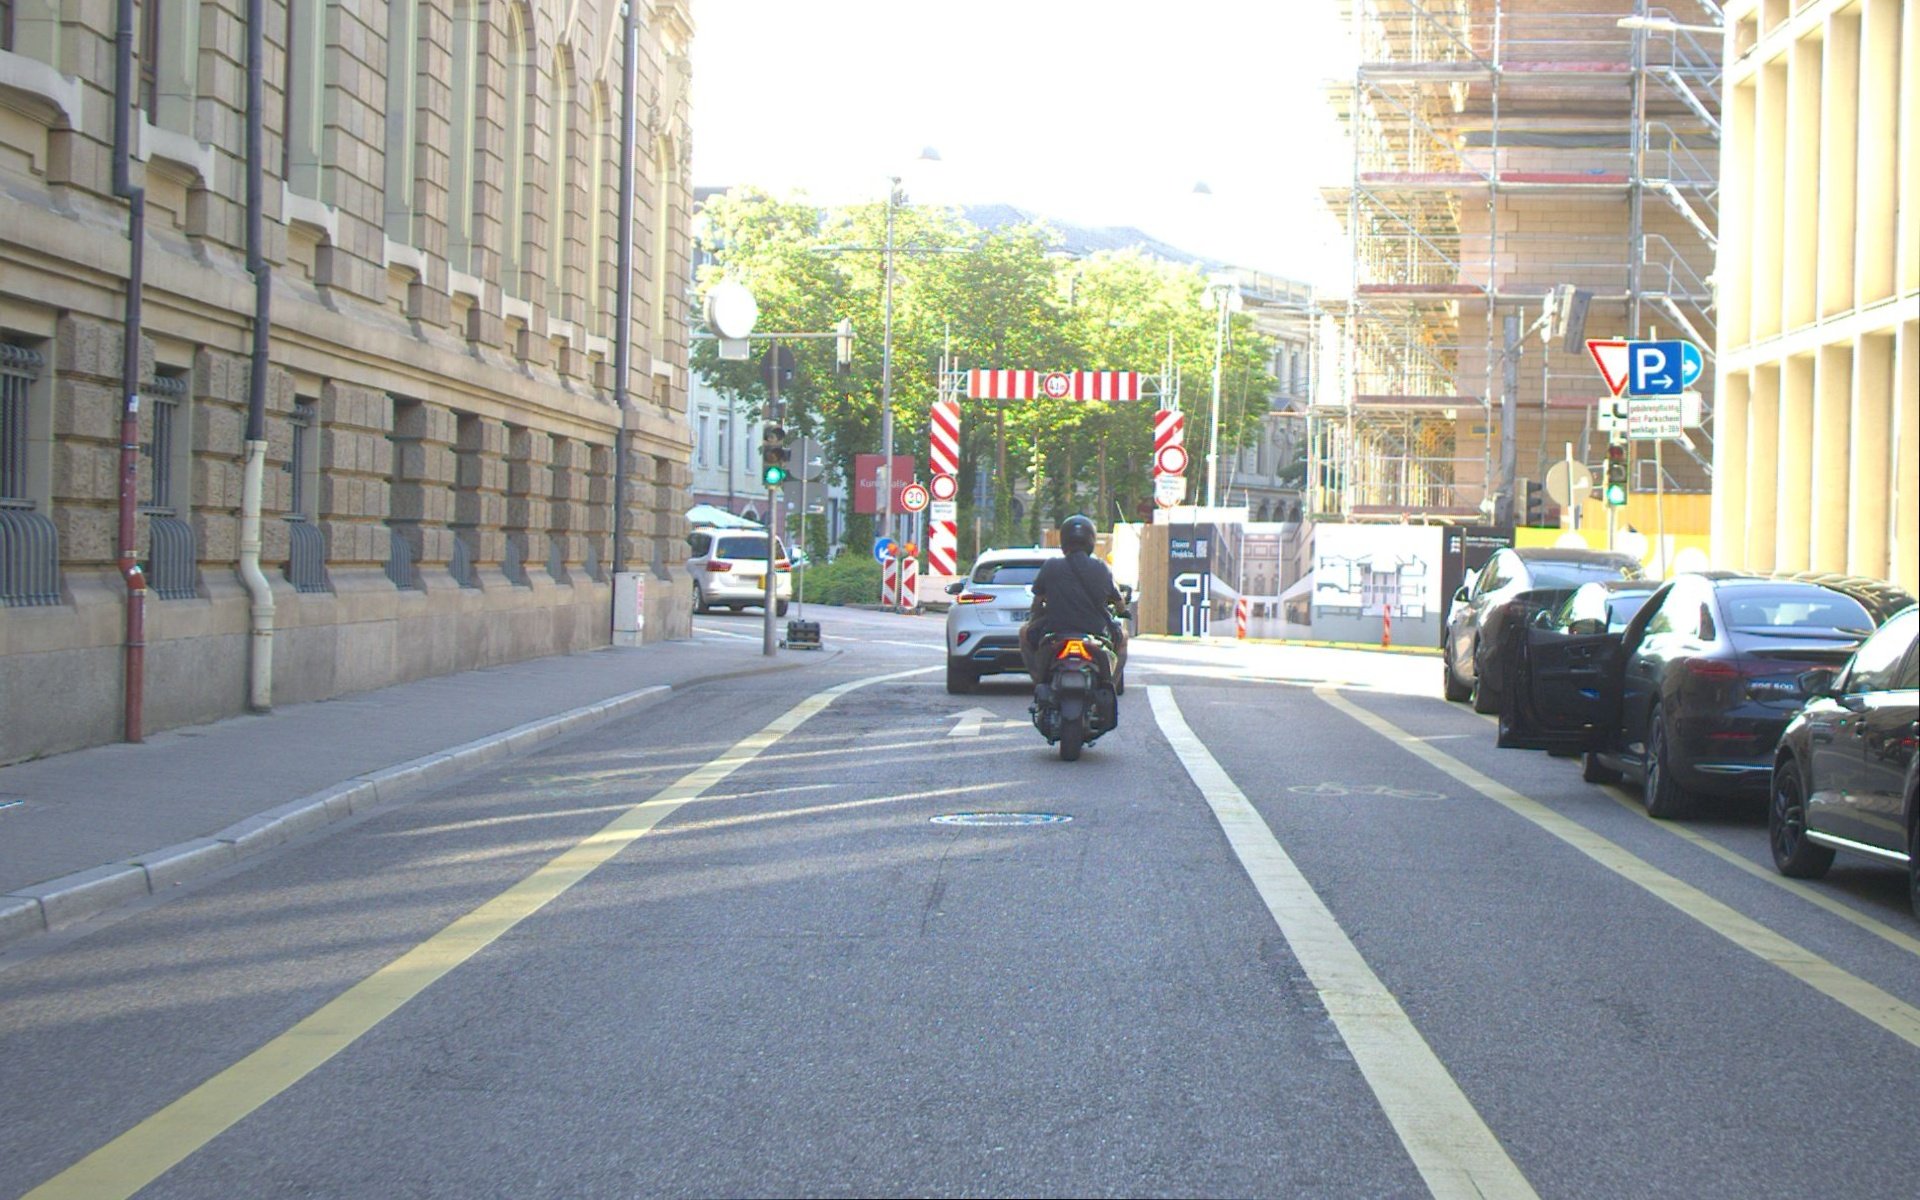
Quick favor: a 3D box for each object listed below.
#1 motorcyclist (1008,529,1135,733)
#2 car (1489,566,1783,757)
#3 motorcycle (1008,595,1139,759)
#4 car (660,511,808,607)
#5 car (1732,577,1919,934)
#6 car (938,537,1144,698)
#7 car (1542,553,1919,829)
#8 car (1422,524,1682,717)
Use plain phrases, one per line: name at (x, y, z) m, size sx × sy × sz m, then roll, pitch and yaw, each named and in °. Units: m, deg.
motorcyclist at (0.784, 0.218, 24.290) m, size 0.867 × 1.422 × 0.455 m, roll 0°, pitch 0°, yaw 0°
car at (5.547, 0.474, 28.711) m, size 1.825 × 1.394 × 4.478 m, roll 2°, pitch 0°, yaw 4°
motorcycle at (0.782, 0.522, 24.187) m, size 0.872 × 1.105 × 1.839 m, roll 0°, pitch 0°, yaw 1°
car at (-4.583, -0.856, 69.195) m, size 1.993 × 1.658 × 4.360 m, roll -2°, pitch 4°, yaw -17°
car at (4.889, 0.649, 15.773) m, size 1.781 × 1.474 × 4.289 m, roll 0°, pitch 0°, yaw 1°
car at (0.910, 0.148, 36.222) m, size 1.823 × 1.536 × 4.263 m, roll 2°, pitch 1°, yaw 5°
car at (4.995, 0.504, 21.781) m, size 1.824 × 1.496 × 4.736 m, roll 2°, pitch 0°, yaw 1°
car at (5.852, 0.138, 34.510) m, size 1.824 × 1.693 × 4.667 m, roll 2°, pitch 2°, yaw 1°
